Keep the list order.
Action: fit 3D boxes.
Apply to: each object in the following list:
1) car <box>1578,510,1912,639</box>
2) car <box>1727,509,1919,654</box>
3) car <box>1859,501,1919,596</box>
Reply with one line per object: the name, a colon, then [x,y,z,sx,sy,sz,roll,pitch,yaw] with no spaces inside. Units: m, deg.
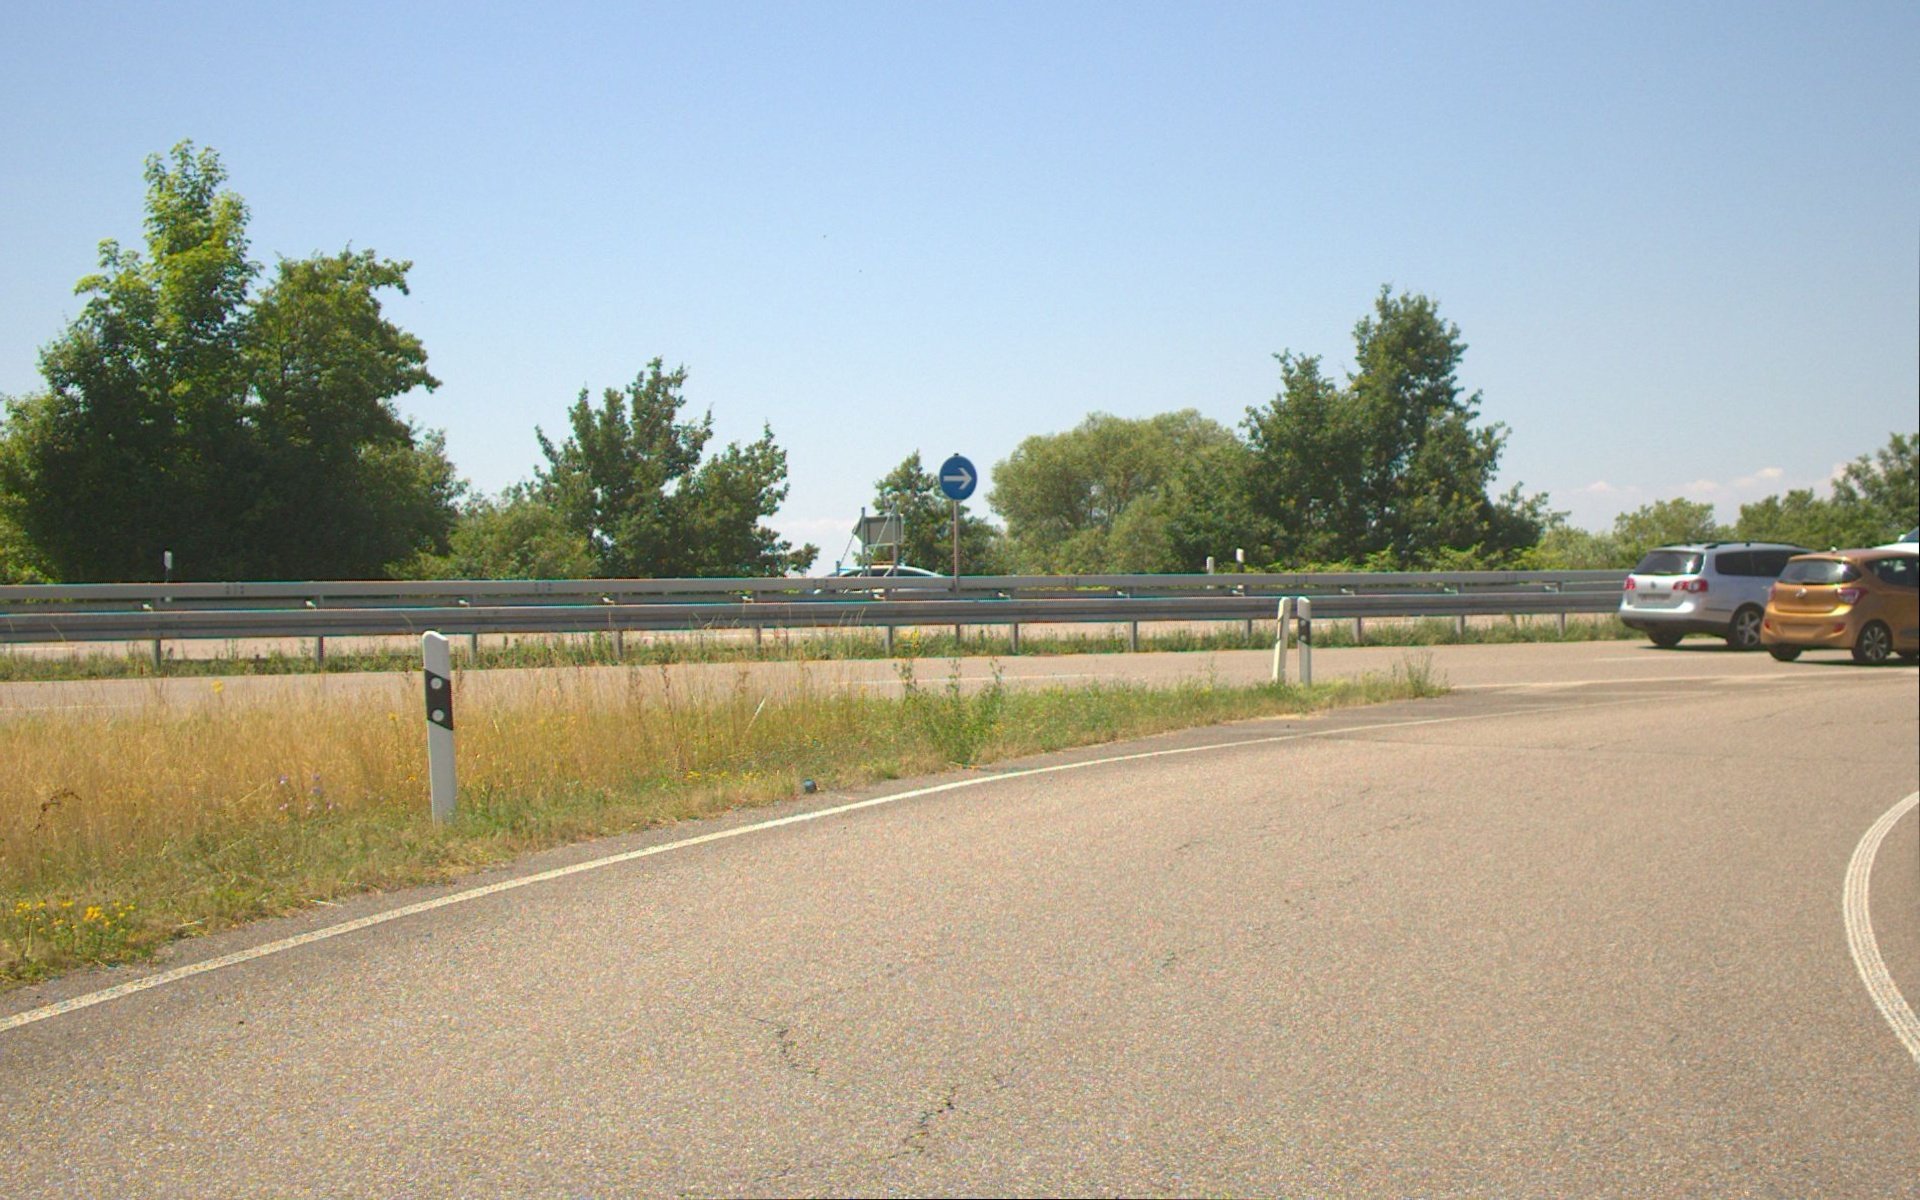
car: [11.346,-0.384,49.564,4.770,1.783,2.000,-1,1,-35]
car: [12.459,-0.197,45.426,4.514,1.784,2.000,1,-1,-35]
car: [19.431,-0.991,65.951,4.392,1.783,1.999,-1,1,-38]
